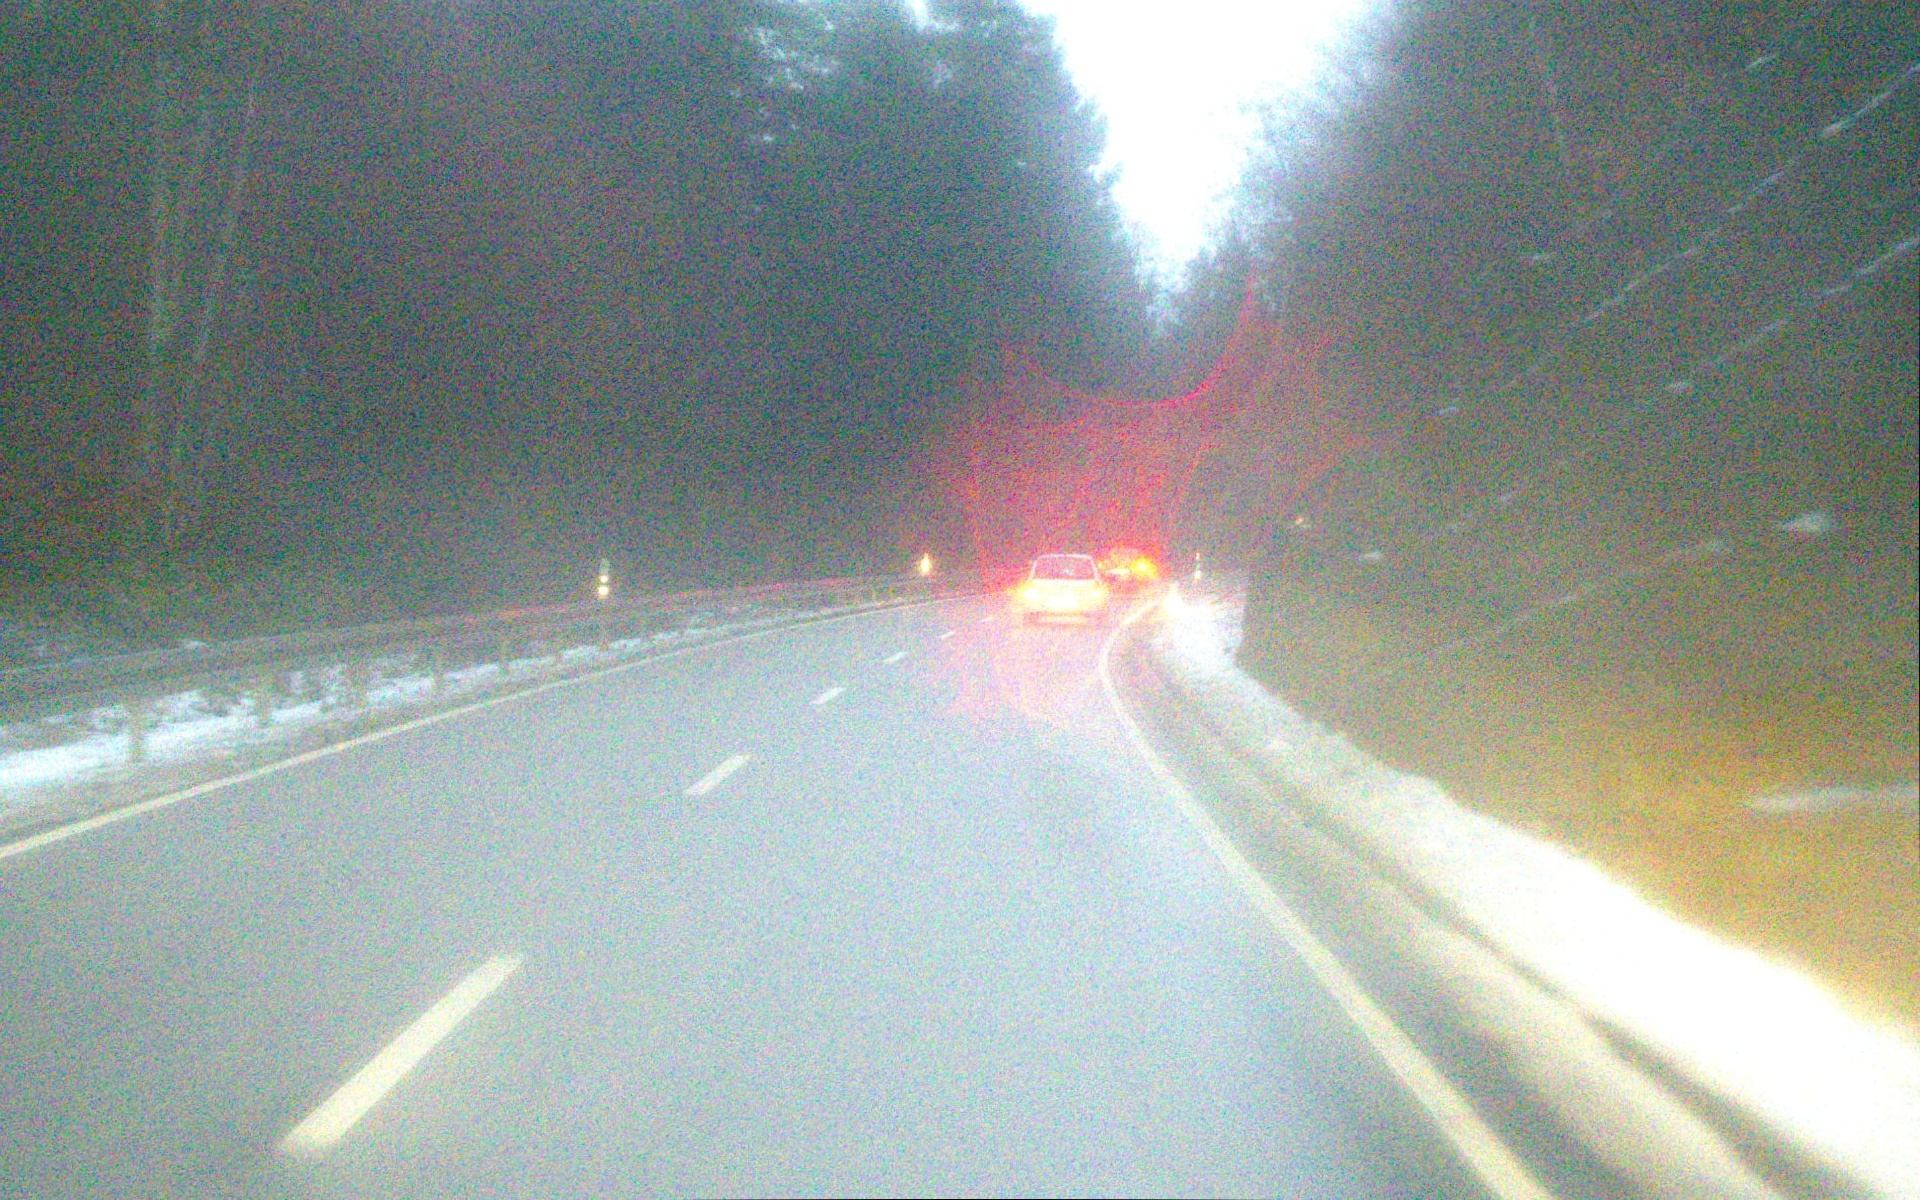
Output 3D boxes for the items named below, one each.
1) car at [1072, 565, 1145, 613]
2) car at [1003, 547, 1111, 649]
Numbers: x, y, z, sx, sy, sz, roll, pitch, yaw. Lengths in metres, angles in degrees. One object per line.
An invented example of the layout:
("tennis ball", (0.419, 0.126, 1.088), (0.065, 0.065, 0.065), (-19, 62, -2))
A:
("car", (4.390, -0.346, 101.978), (1.993, 1.305, 4.000), (-3, 1, 1))
("car", (1.906, -0.069, 68.046), (1.993, 1.866, 4.000), (-3, 1, 1))
